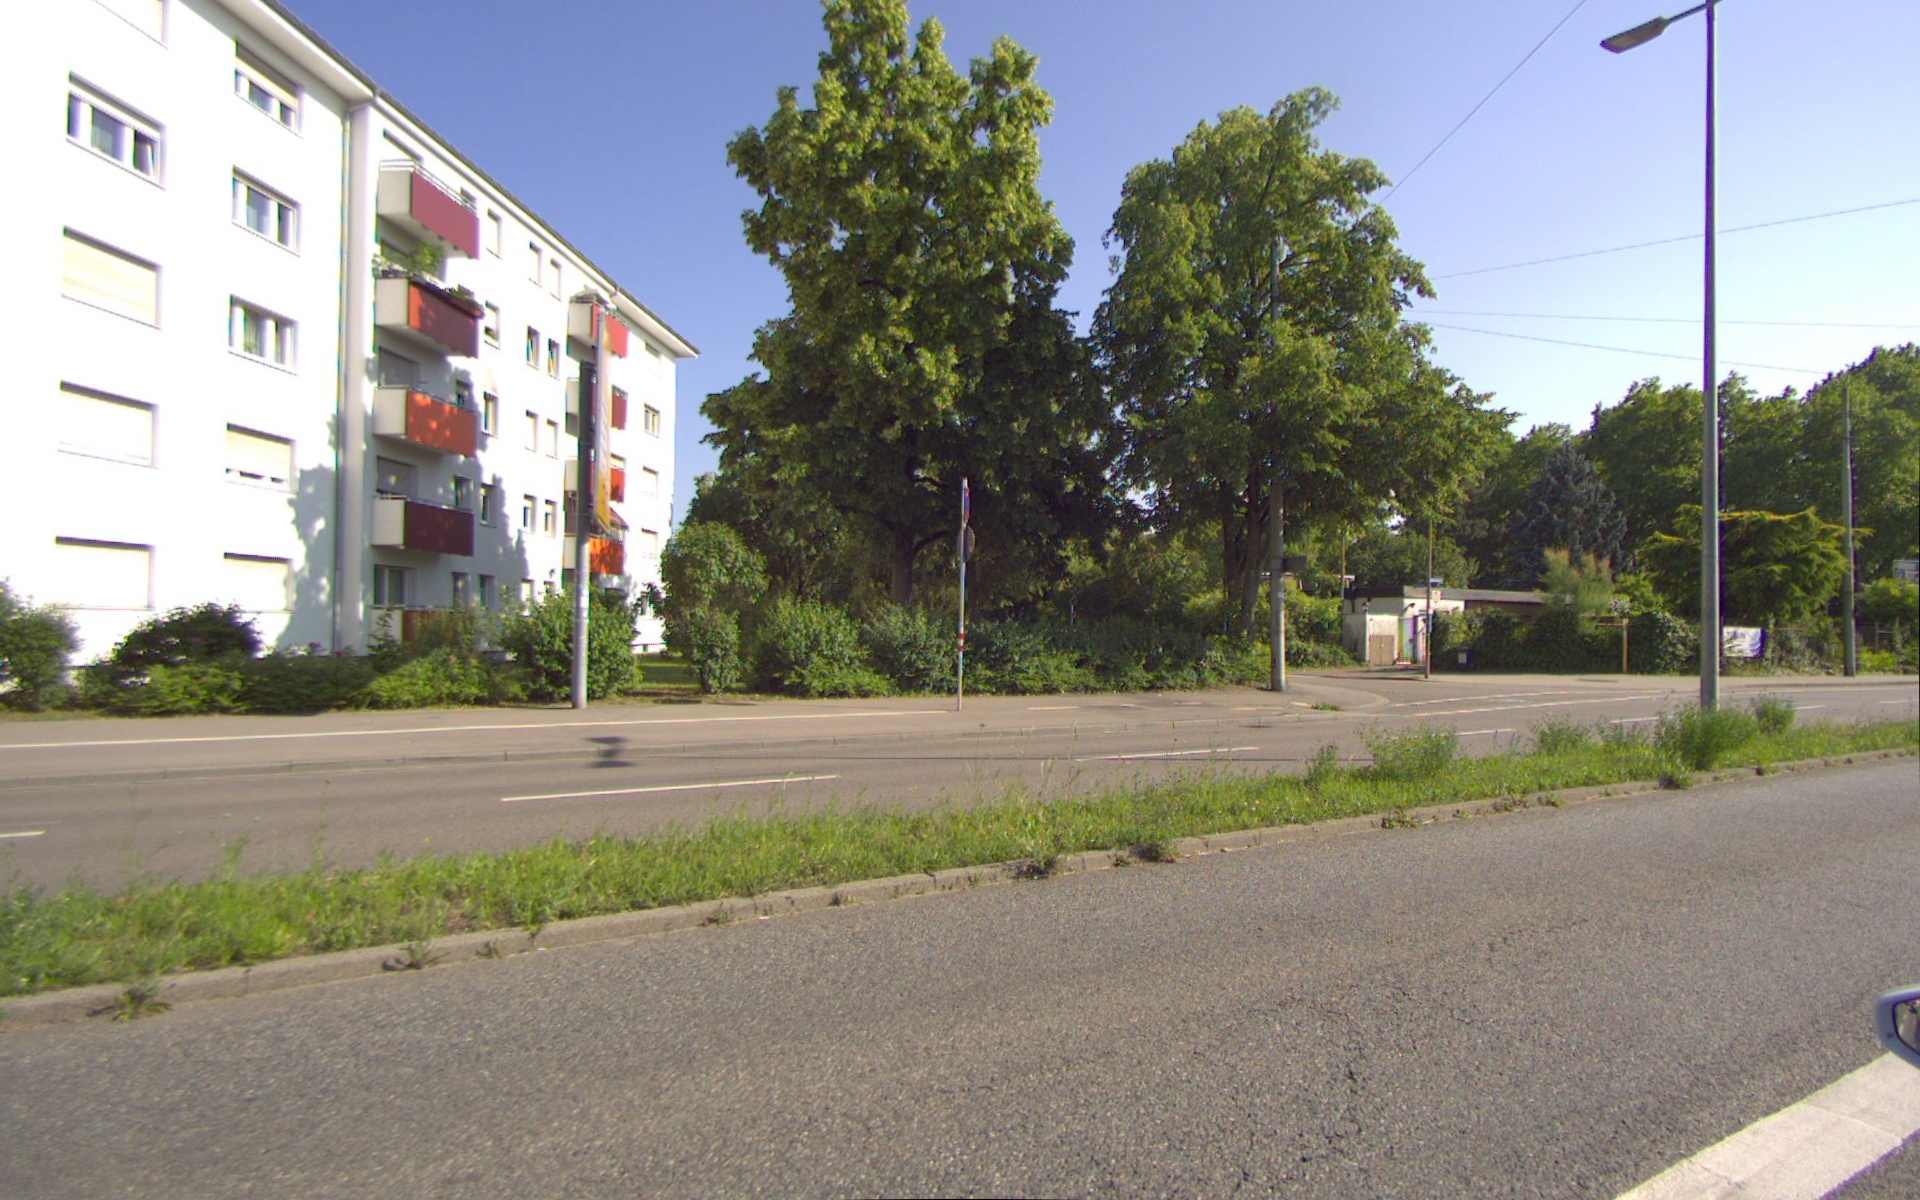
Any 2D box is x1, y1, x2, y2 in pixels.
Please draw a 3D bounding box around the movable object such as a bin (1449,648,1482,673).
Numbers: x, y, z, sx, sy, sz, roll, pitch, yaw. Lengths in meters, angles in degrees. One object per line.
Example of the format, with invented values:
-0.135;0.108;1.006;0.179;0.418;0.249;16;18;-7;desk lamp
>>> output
19.120;2.278;37.991;0.843;0.943;0.813;1;-2;-29;movable object such as a bin
